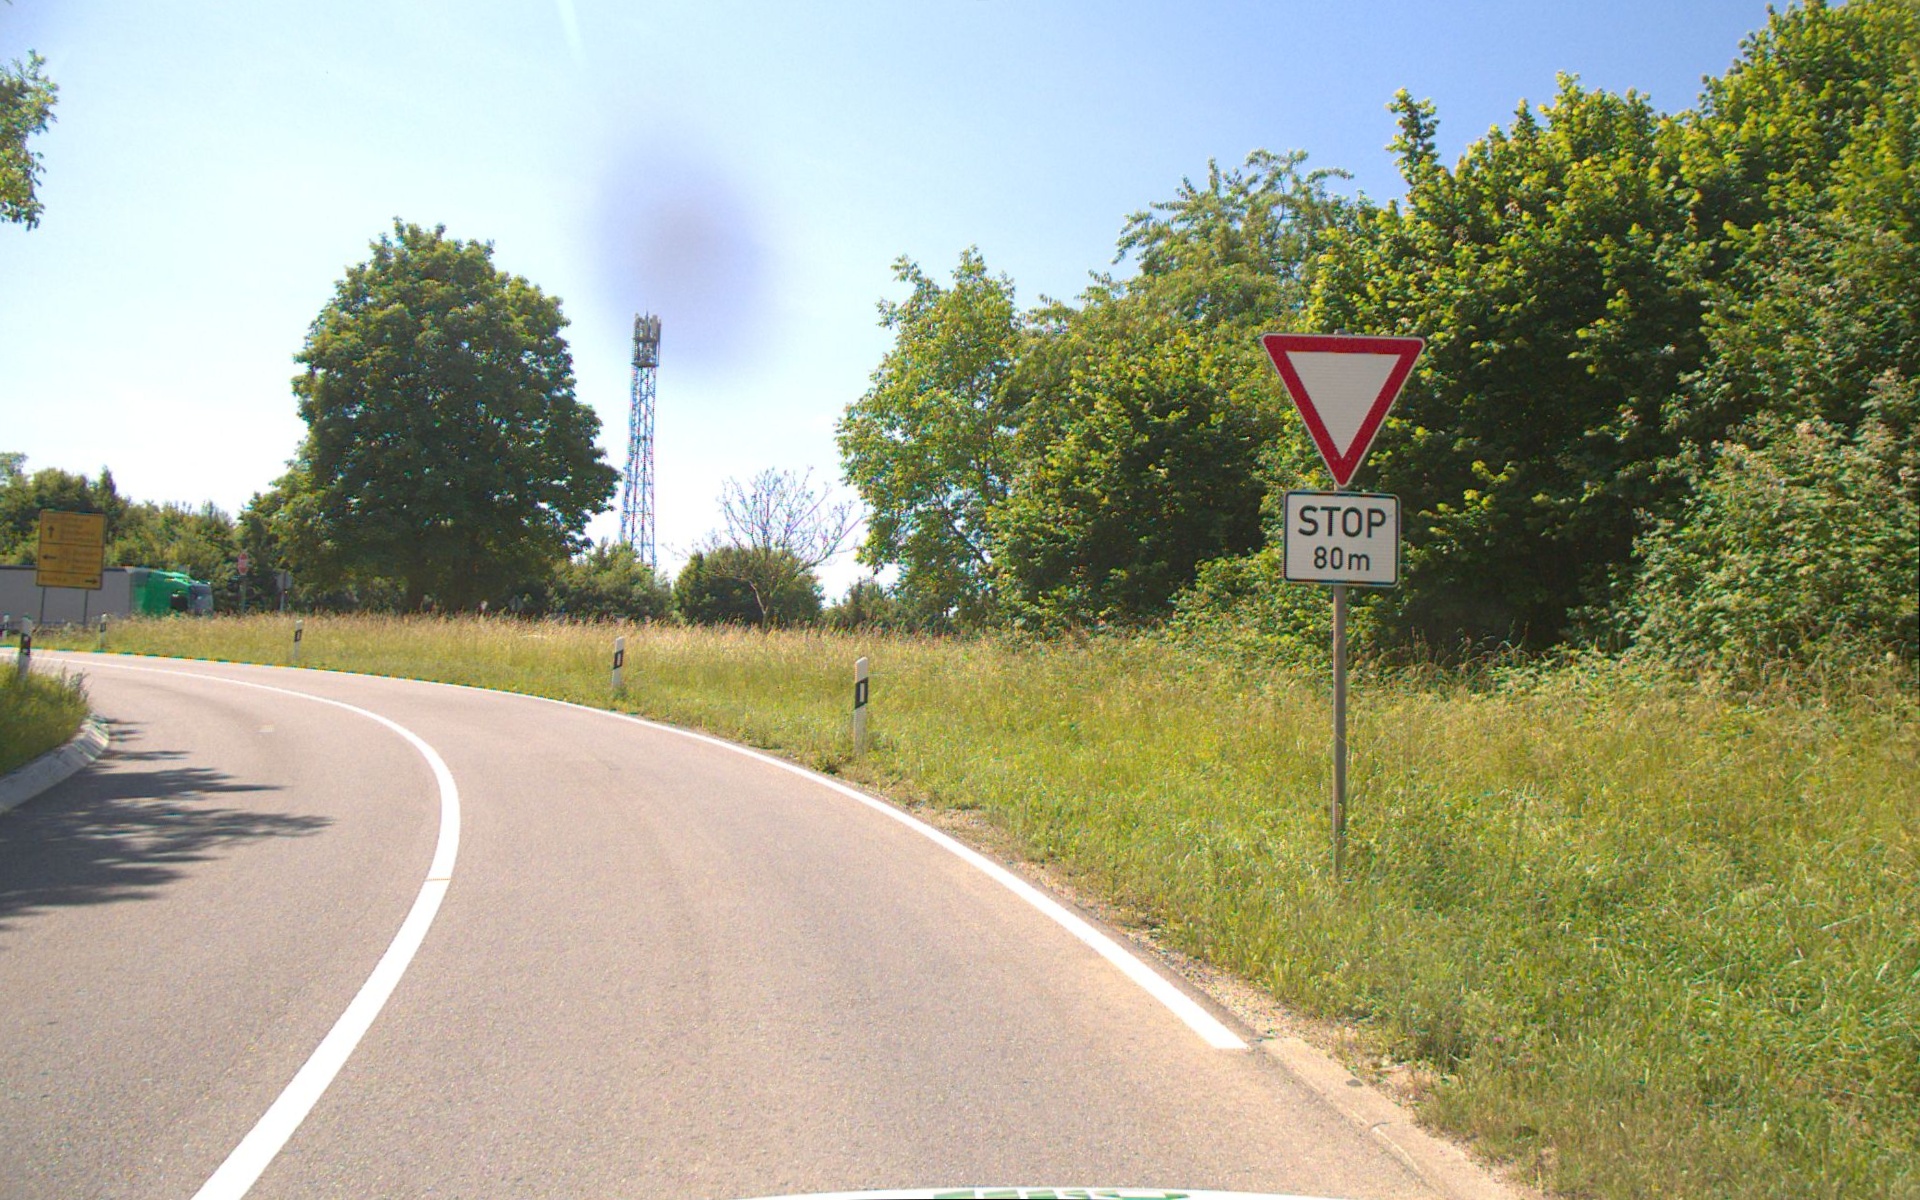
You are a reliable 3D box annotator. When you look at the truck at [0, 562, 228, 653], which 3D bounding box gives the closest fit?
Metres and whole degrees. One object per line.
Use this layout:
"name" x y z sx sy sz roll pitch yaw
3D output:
"truck" -45.127 0.335 82.482 16.277 4.246 3.137 1 -2 7
